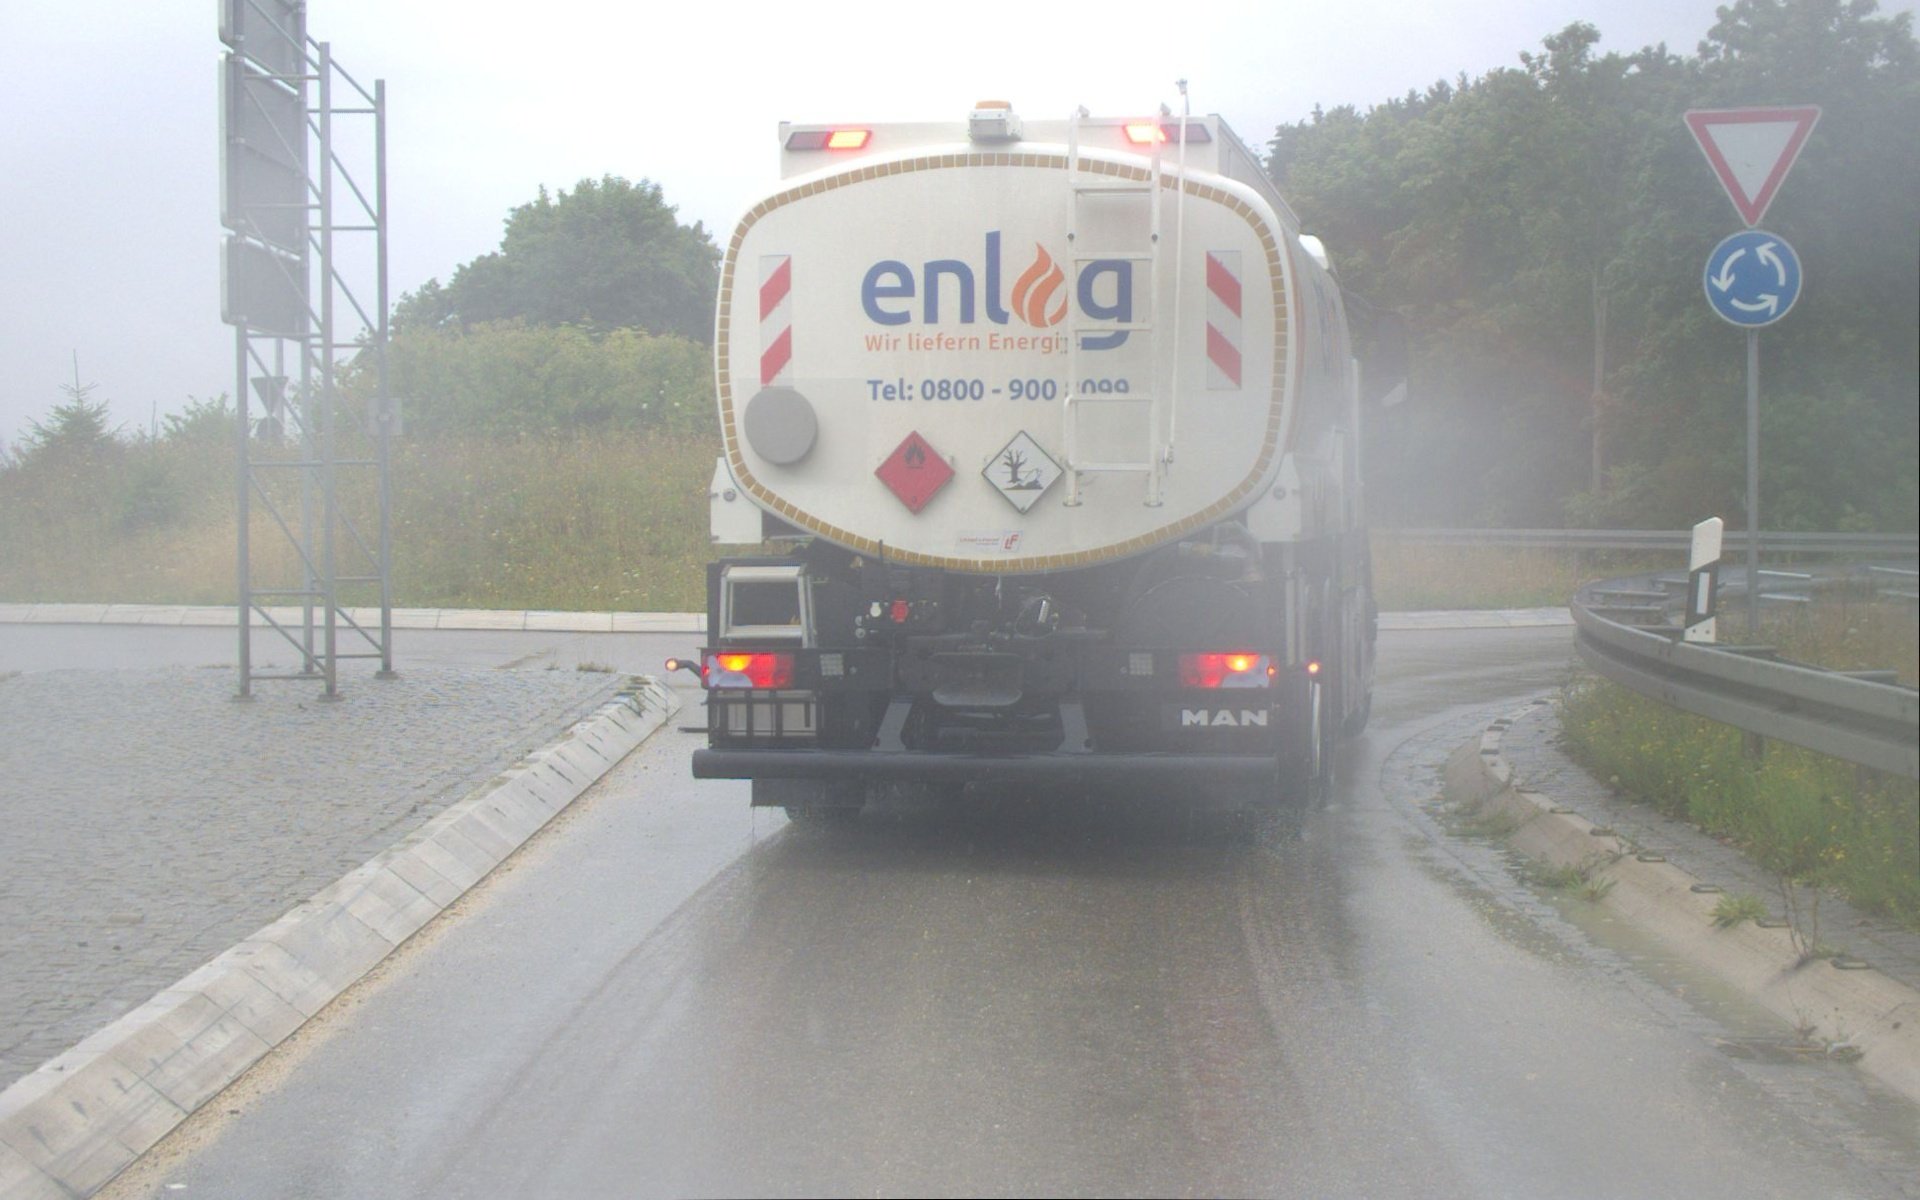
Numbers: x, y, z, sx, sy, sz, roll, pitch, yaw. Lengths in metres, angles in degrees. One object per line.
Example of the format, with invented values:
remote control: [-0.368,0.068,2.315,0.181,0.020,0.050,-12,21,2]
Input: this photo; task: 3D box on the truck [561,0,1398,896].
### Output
truck: [0.598,-0.892,18.106,3.040,3.838,8.819,1,2,9]
